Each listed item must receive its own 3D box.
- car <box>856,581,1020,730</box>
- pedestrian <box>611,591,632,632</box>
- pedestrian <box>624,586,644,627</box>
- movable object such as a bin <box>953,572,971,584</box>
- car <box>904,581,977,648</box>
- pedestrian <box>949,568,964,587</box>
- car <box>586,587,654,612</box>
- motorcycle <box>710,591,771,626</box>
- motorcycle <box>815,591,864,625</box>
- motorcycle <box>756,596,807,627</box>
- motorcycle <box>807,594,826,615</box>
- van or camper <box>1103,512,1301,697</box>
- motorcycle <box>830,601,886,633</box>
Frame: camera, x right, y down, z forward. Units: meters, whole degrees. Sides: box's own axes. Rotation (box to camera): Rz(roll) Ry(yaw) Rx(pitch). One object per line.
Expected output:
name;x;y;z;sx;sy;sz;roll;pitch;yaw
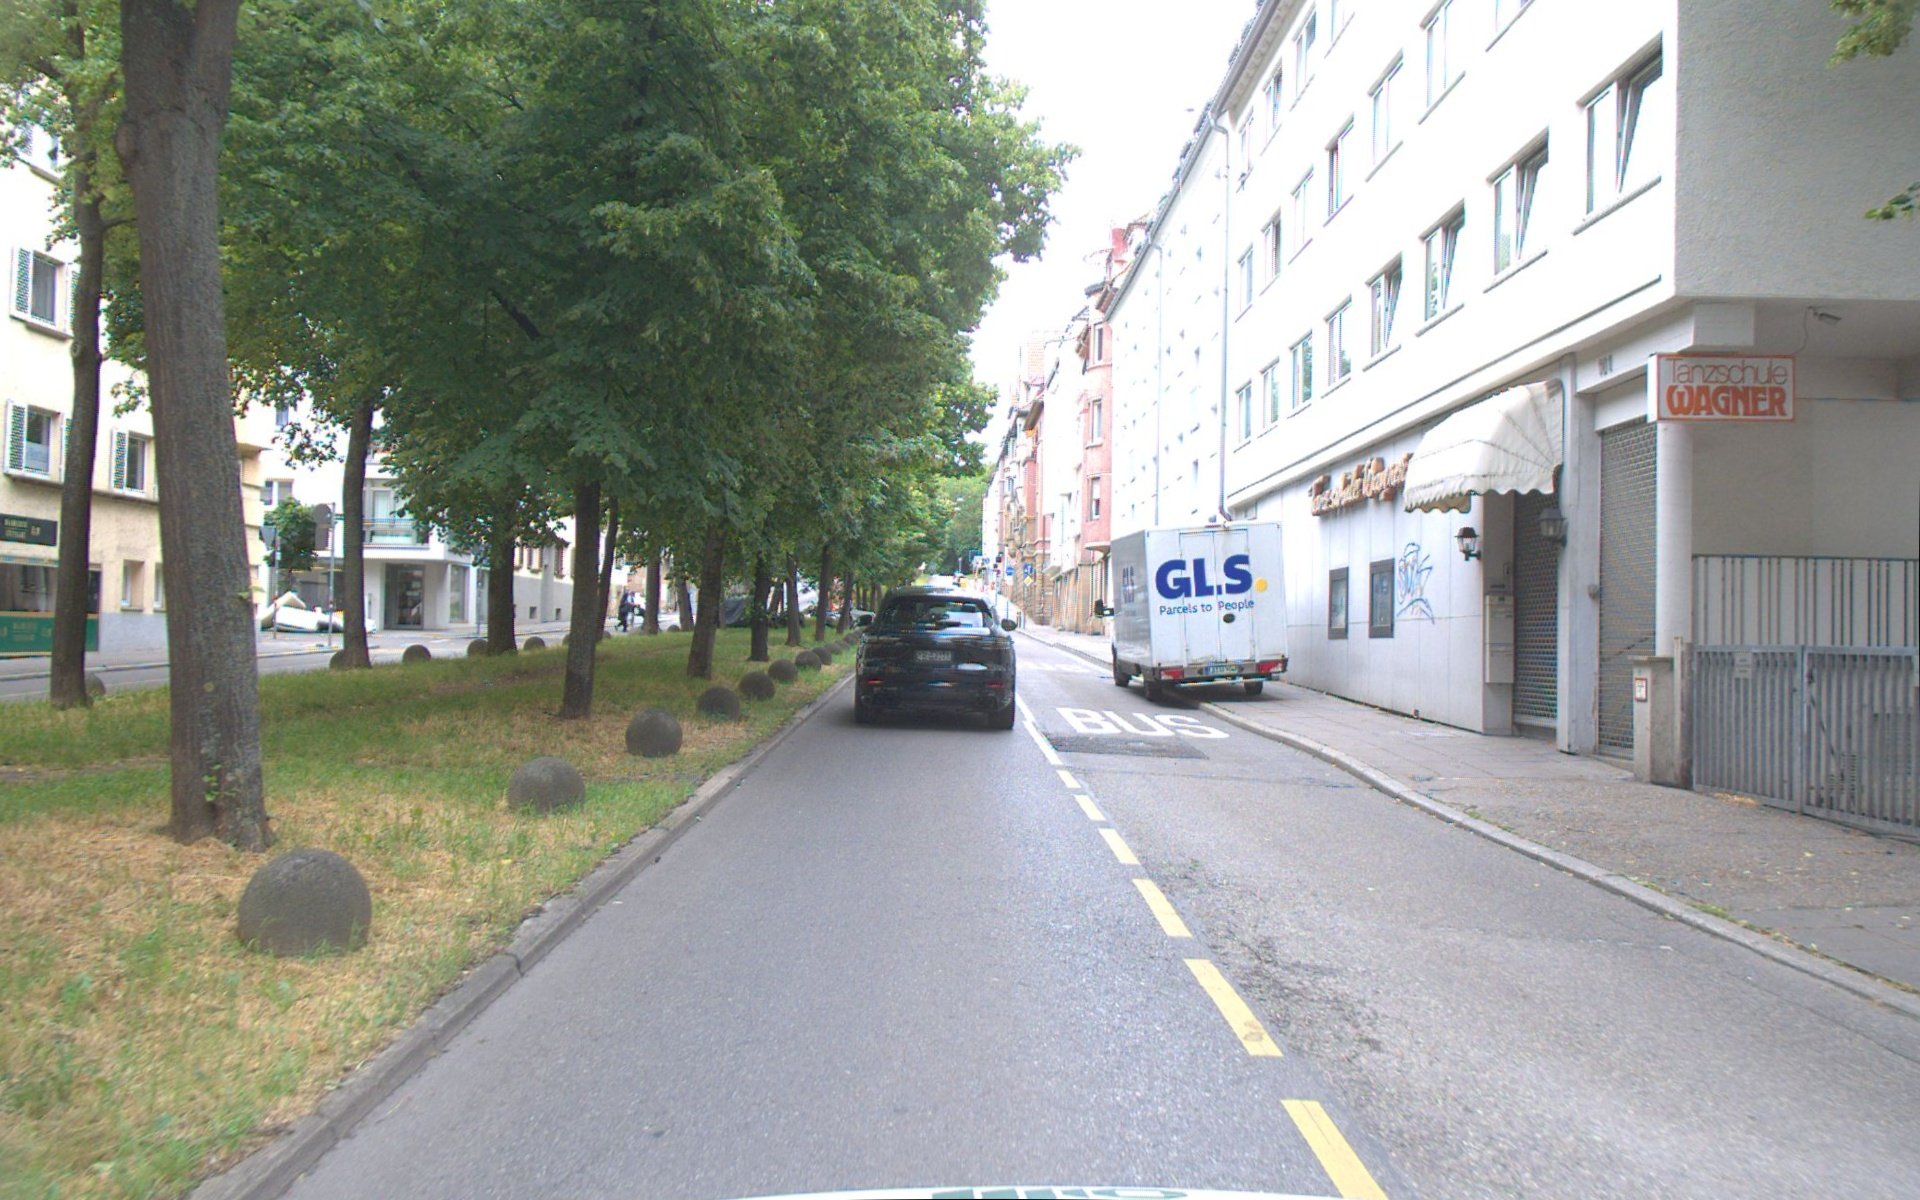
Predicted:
car;-0.332;0.635;21.164;1.865;1.695;4.134;1;0;-2
pedestrian;-13.755;0.456;67.231;0.621;1.641;0.764;2;0;-1
pedestrian;-13.481;0.263;68.357;0.649;1.644;0.579;1;0;1
movable object such as a bin;0.230;-2.371;178.374;1.221;1.296;1.831;1;0;-25
car;-0.538;0.394;47.103;1.953;1.784;4.000;1;0;0
pedestrian;-0.354;-2.472;179.725;1.283;2.049;1.013;1;0;-23
car;-21.355;-0.029;104.002;3.906;1.523;2.000;1;0;-1
motorcycle;-8.789;0.340;66.335;2.334;1.340;1.045;1;0;-2
motorcycle;-4.834;0.323;66.450;1.886;1.319;0.893;1;-2;-3
motorcycle;-7.499;0.484;69.536;1.986;1.257;0.897;1;0;4
motorcycle;-8.118;0.263;93.498;0.882;1.126;2.251;0;-1;0
van or camper;4.042;0.052;29.130;2.429;2.852;7.238;0;0;0
motorcycle;-4.252;0.692;69.172;2.308;1.257;1.033;1;2;-2
